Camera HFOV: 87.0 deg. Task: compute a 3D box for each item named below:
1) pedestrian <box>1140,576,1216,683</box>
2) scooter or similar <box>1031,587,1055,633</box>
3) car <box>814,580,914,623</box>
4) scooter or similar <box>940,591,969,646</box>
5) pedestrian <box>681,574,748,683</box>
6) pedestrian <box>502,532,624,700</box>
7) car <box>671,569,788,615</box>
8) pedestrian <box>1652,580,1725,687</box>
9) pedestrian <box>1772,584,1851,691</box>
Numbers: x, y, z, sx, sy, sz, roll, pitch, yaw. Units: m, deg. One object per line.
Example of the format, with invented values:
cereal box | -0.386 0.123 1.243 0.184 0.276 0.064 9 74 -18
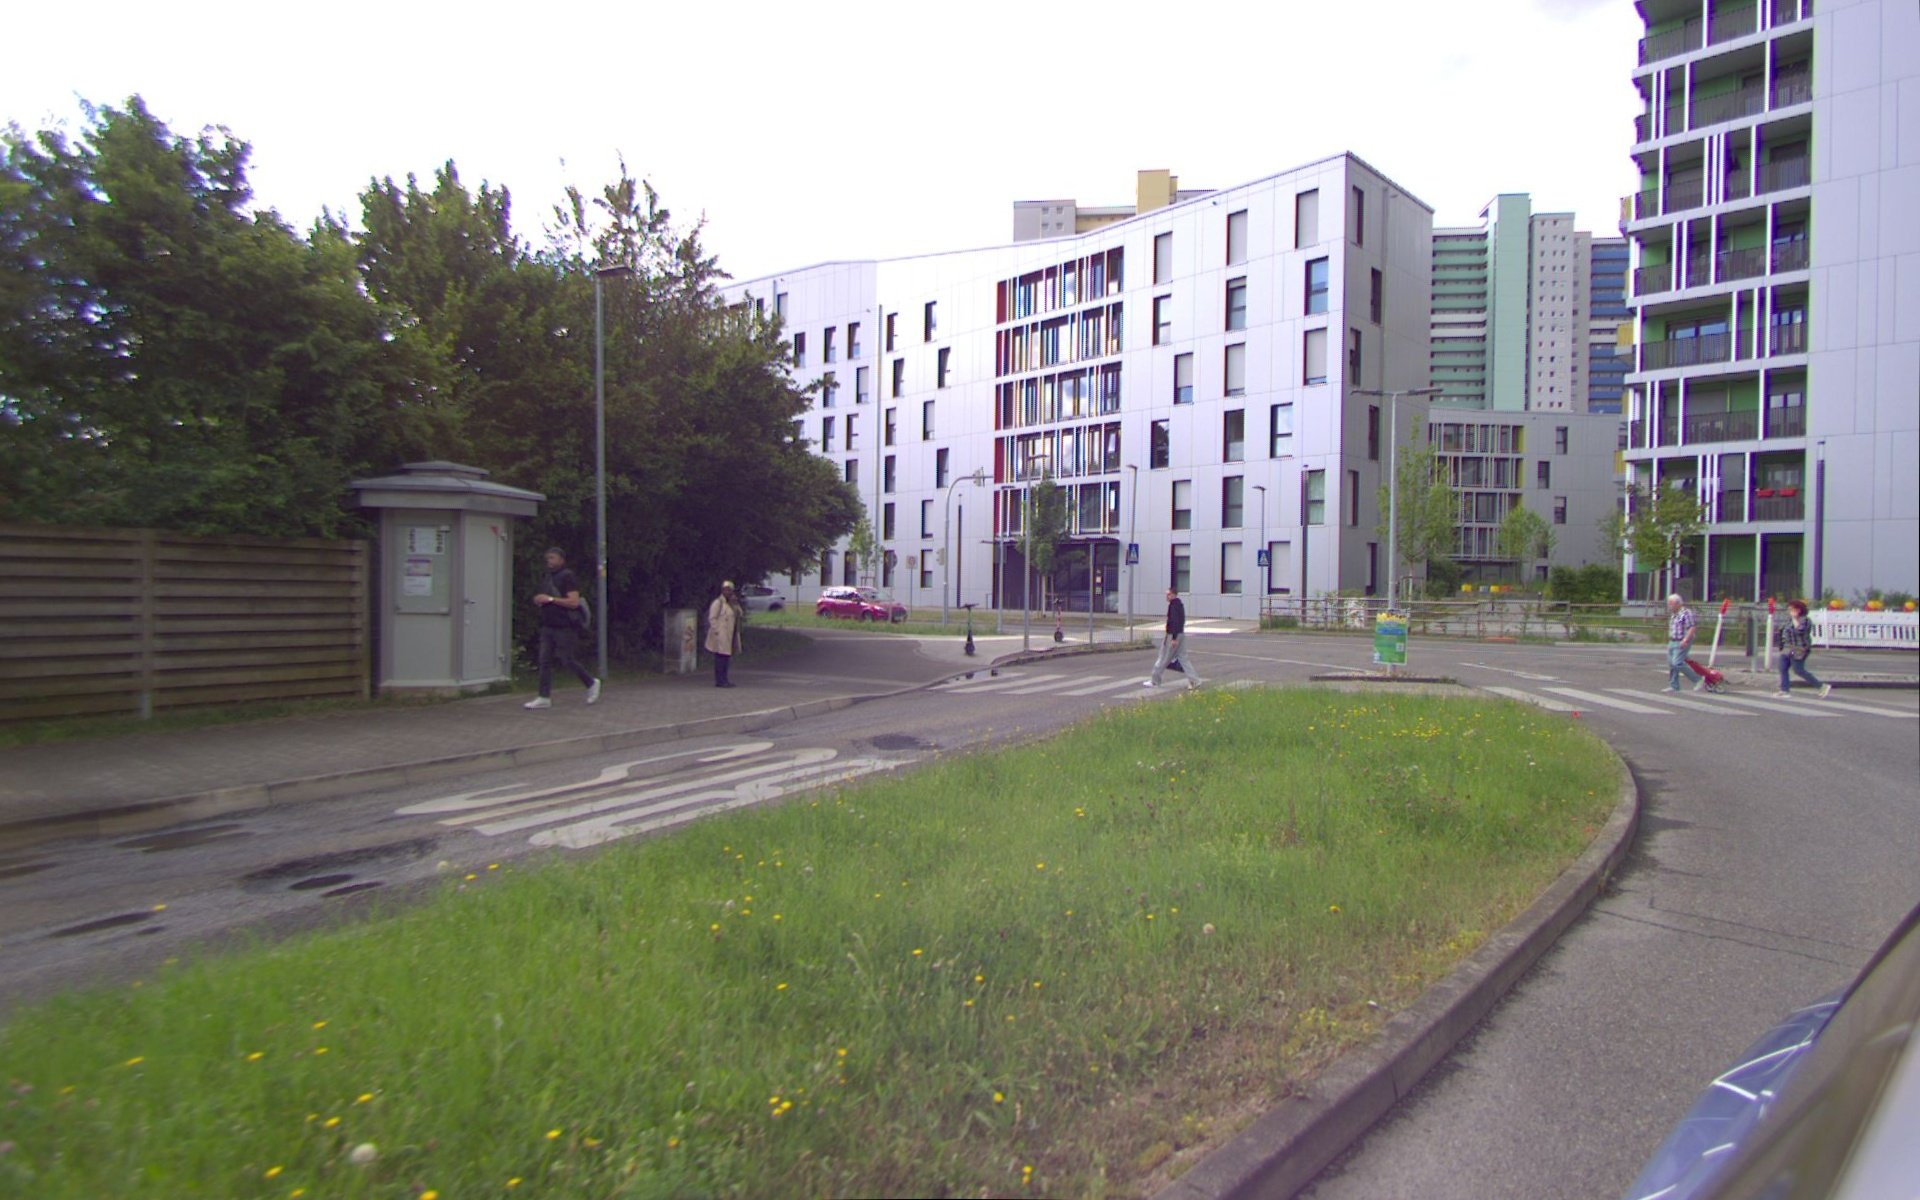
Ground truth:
pedestrian | 3.763 0.479 17.448 1.053 1.769 0.947 1 1 30
scooter or similar | 2.484 0.273 30.180 0.563 1.329 1.521 0 1 10
car | -4.121 0.028 43.183 4.227 1.651 1.906 2 3 42
scooter or similar | -0.154 0.457 25.644 0.609 1.290 1.497 0 2 -4
pedestrian | -3.741 0.410 15.466 0.679 1.614 0.766 1 1 22
pedestrian | -4.560 0.182 11.682 0.845 1.846 0.979 1 -2 16
car | -9.722 -0.301 42.968 2.059 1.774 4.599 1 -1 38
pedestrian | 11.826 0.513 16.432 0.685 1.653 0.723 -2 3 -29
pedestrian | 13.040 0.546 15.502 0.678 1.586 0.733 0 1 -31
